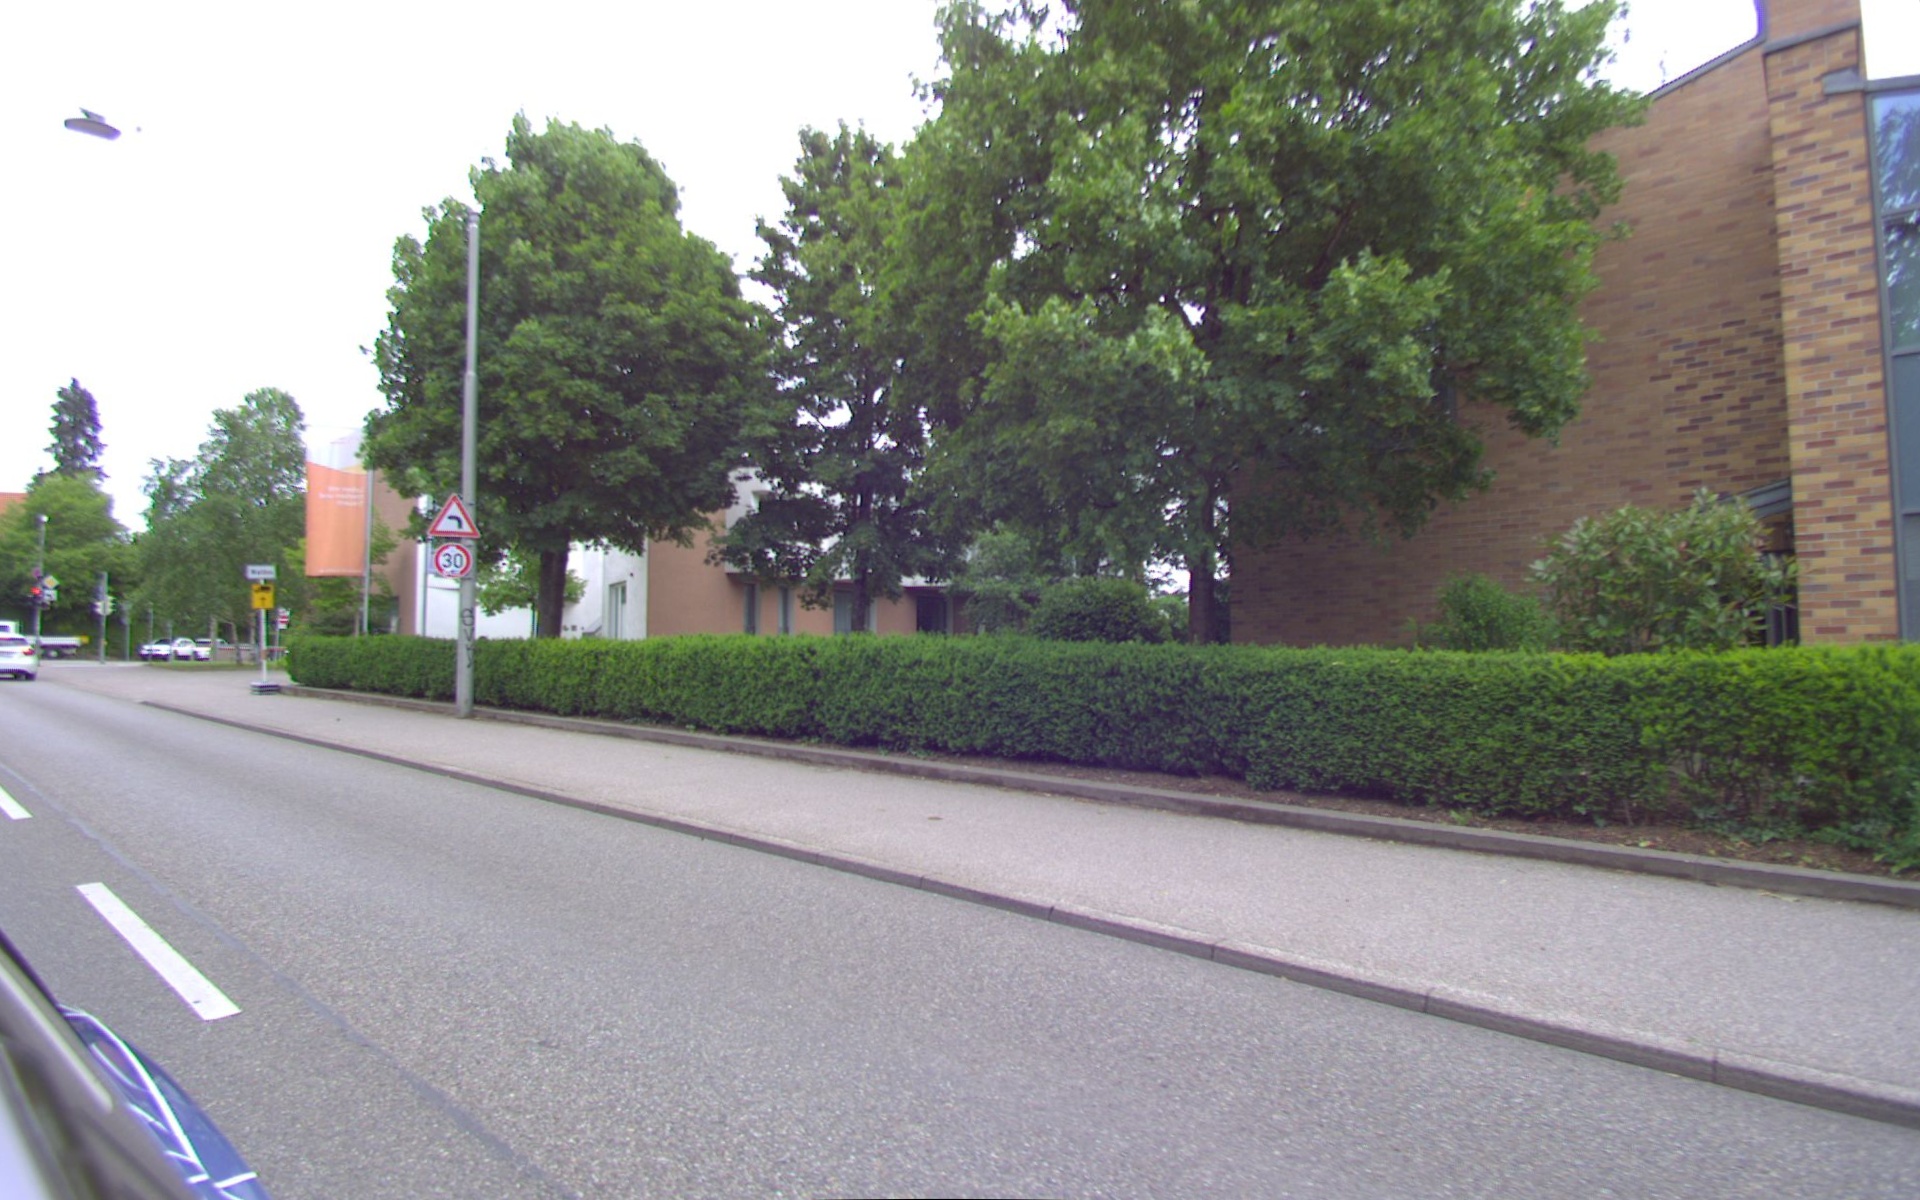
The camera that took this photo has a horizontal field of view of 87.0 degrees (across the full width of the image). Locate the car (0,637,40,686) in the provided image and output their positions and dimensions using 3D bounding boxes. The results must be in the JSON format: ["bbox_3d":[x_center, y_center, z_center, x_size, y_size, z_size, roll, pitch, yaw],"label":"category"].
[{"bbox_3d":[-29.759,1.833,31.026,4.063,1.432,1.748,-1,-5,41],"label":"car"}]

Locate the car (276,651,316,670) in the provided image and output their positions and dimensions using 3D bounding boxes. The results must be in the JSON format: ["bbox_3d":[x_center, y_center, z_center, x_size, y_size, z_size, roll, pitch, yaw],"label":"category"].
[{"bbox_3d":[-60.504,5.522,92.262,1.841,1.599,3.740,2,-4,-14],"label":"car"}]

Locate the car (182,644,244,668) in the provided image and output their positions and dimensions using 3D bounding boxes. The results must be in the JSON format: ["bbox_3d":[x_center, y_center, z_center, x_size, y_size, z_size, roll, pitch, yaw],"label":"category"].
[{"bbox_3d":[-53.504,4.016,72.549,1.967,1.625,4.008,2,-4,-10],"label":"car"}]

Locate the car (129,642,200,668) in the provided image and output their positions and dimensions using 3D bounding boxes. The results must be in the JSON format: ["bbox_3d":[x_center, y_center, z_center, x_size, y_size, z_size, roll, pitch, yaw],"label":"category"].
[{"bbox_3d":[-52.608,3.665,67.006,1.967,1.625,4.008,2,-4,-10],"label":"car"}]

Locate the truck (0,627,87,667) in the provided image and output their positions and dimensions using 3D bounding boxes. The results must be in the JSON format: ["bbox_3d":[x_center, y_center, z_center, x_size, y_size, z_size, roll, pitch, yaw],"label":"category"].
[{"bbox_3d":[-55.851,2.722,59.517,6.609,2.205,2.535,5,-5,-38],"label":"truck"}]
